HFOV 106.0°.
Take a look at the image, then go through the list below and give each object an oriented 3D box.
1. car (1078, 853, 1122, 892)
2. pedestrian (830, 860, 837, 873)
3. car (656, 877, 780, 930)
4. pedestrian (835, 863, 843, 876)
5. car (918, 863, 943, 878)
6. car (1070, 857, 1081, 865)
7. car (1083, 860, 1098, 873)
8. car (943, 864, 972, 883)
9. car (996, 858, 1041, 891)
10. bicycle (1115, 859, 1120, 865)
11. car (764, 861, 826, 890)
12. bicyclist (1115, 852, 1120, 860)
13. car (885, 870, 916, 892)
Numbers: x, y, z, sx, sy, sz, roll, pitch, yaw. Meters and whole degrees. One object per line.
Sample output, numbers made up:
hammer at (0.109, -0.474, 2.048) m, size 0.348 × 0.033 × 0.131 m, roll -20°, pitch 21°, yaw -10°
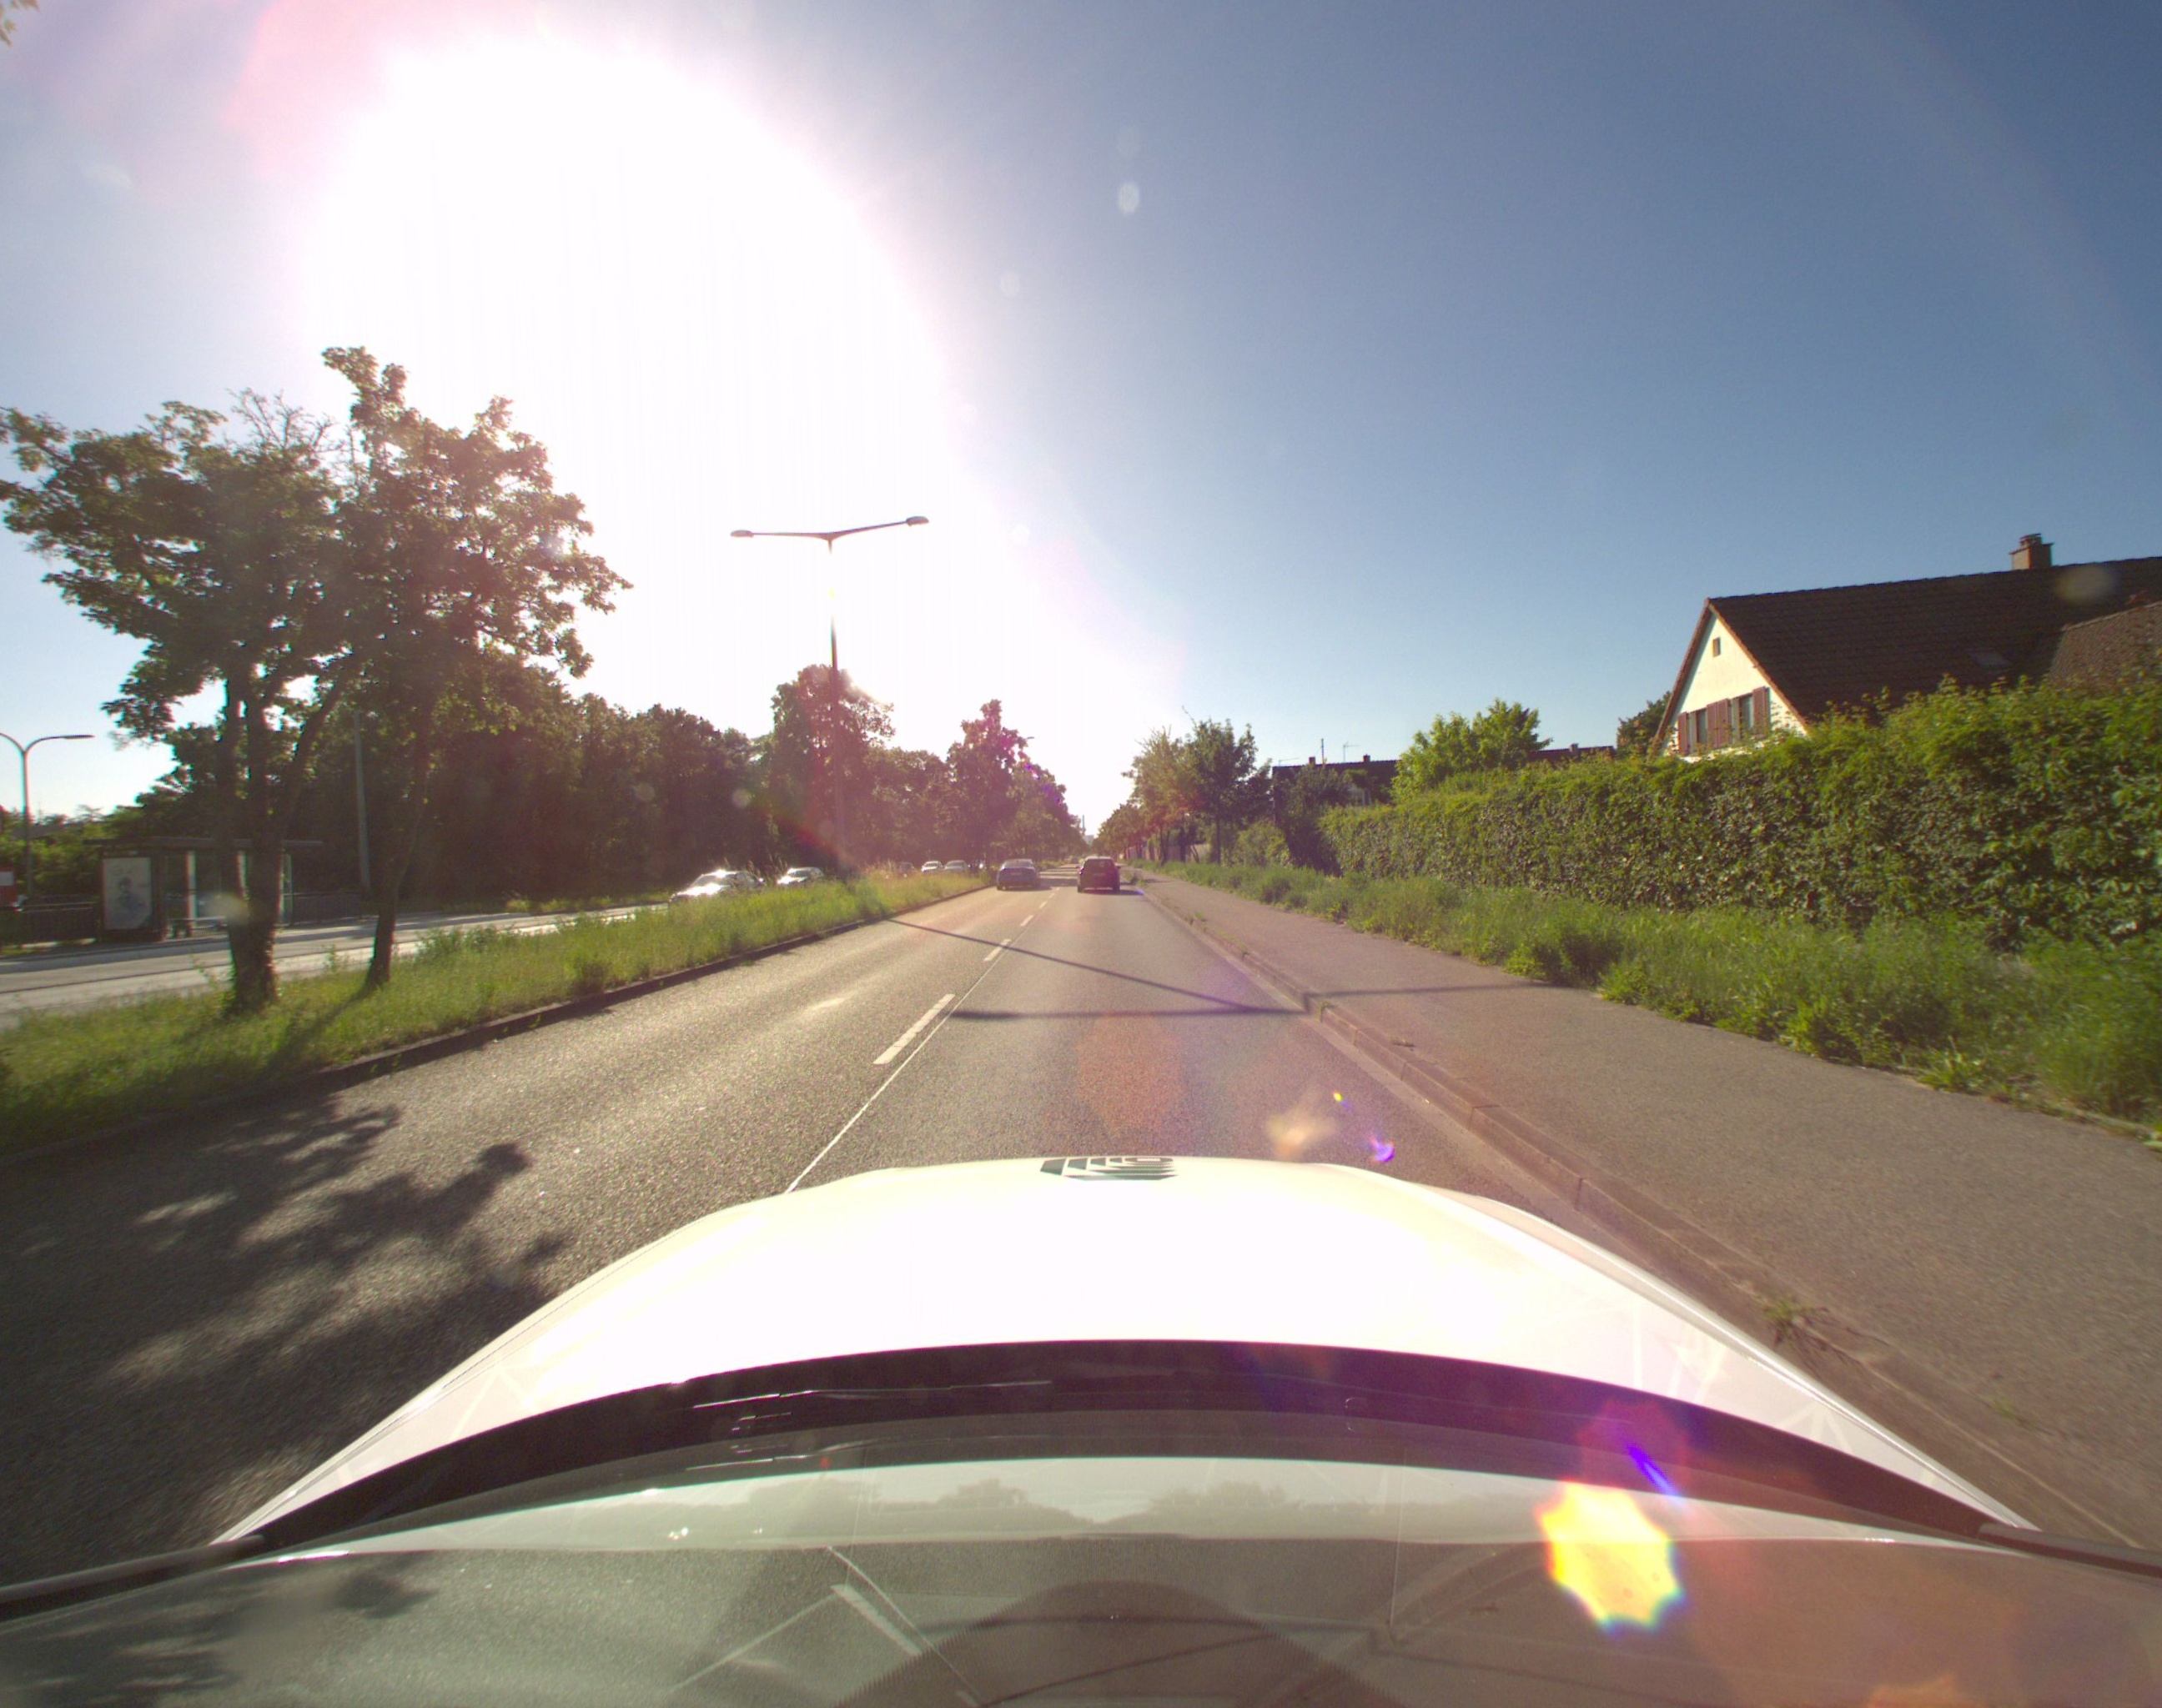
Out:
car at (0.815, 0.773, 34.693) m, size 1.754 × 1.559 × 4.001 m, roll 0°, pitch 0°, yaw 2°
pedestrian at (-27.254, 1.374, 89.530) m, size 0.543 × 1.460 × 0.596 m, roll -2°, pitch 0°, yaw 0°
car at (-11.795, 1.558, 26.897) m, size 1.776 × 1.361 × 4.979 m, roll -3°, pitch 0°, yaw 0°
pedestrian at (-26.631, 1.717, 89.594) m, size 0.542 × 1.460 × 0.917 m, roll -2°, pitch 0°, yaw 0°
car at (-15.364, 1.682, 83.307) m, size 1.833 × 1.413 × 3.998 m, roll -2°, pitch 0°, yaw -1°
car at (-1.138, 1.400, 167.574) m, size 1.974 × 1.440 × 3.996 m, roll -2°, pitch 1°, yaw -3°
car at (1.237, 1.629, 108.243) m, size 1.740 × 1.597 × 4.169 m, roll -2°, pitch 1°, yaw -4°
car at (-11.079, 1.747, 73.393) m, size 1.707 × 1.602 × 4.360 m, roll -2°, pitch 0°, yaw 2°
car at (-2.970, 0.925, 38.934) m, size 1.991 × 1.405 × 3.995 m, roll -2°, pitch 0°, yaw -4°
bicycle at (6.250, 1.363, 139.143) m, size 0.653 × 0.892 × 1.875 m, roll -2°, pitch 0°, yaw 1°
car at (-16.050, 1.167, 45.917) m, size 1.799 × 1.500 × 4.595 m, roll -2°, pitch 0°, yaw 0°
bicyclist at (6.234, 0.355, 139.246) m, size 0.678 × 1.418 × 0.812 m, roll -2°, pitch 0°, yaw 0°
car at (-15.110, 2.224, 68.238) m, size 1.599 × 1.563 × 3.999 m, roll -4°, pitch 0°, yaw -1°
